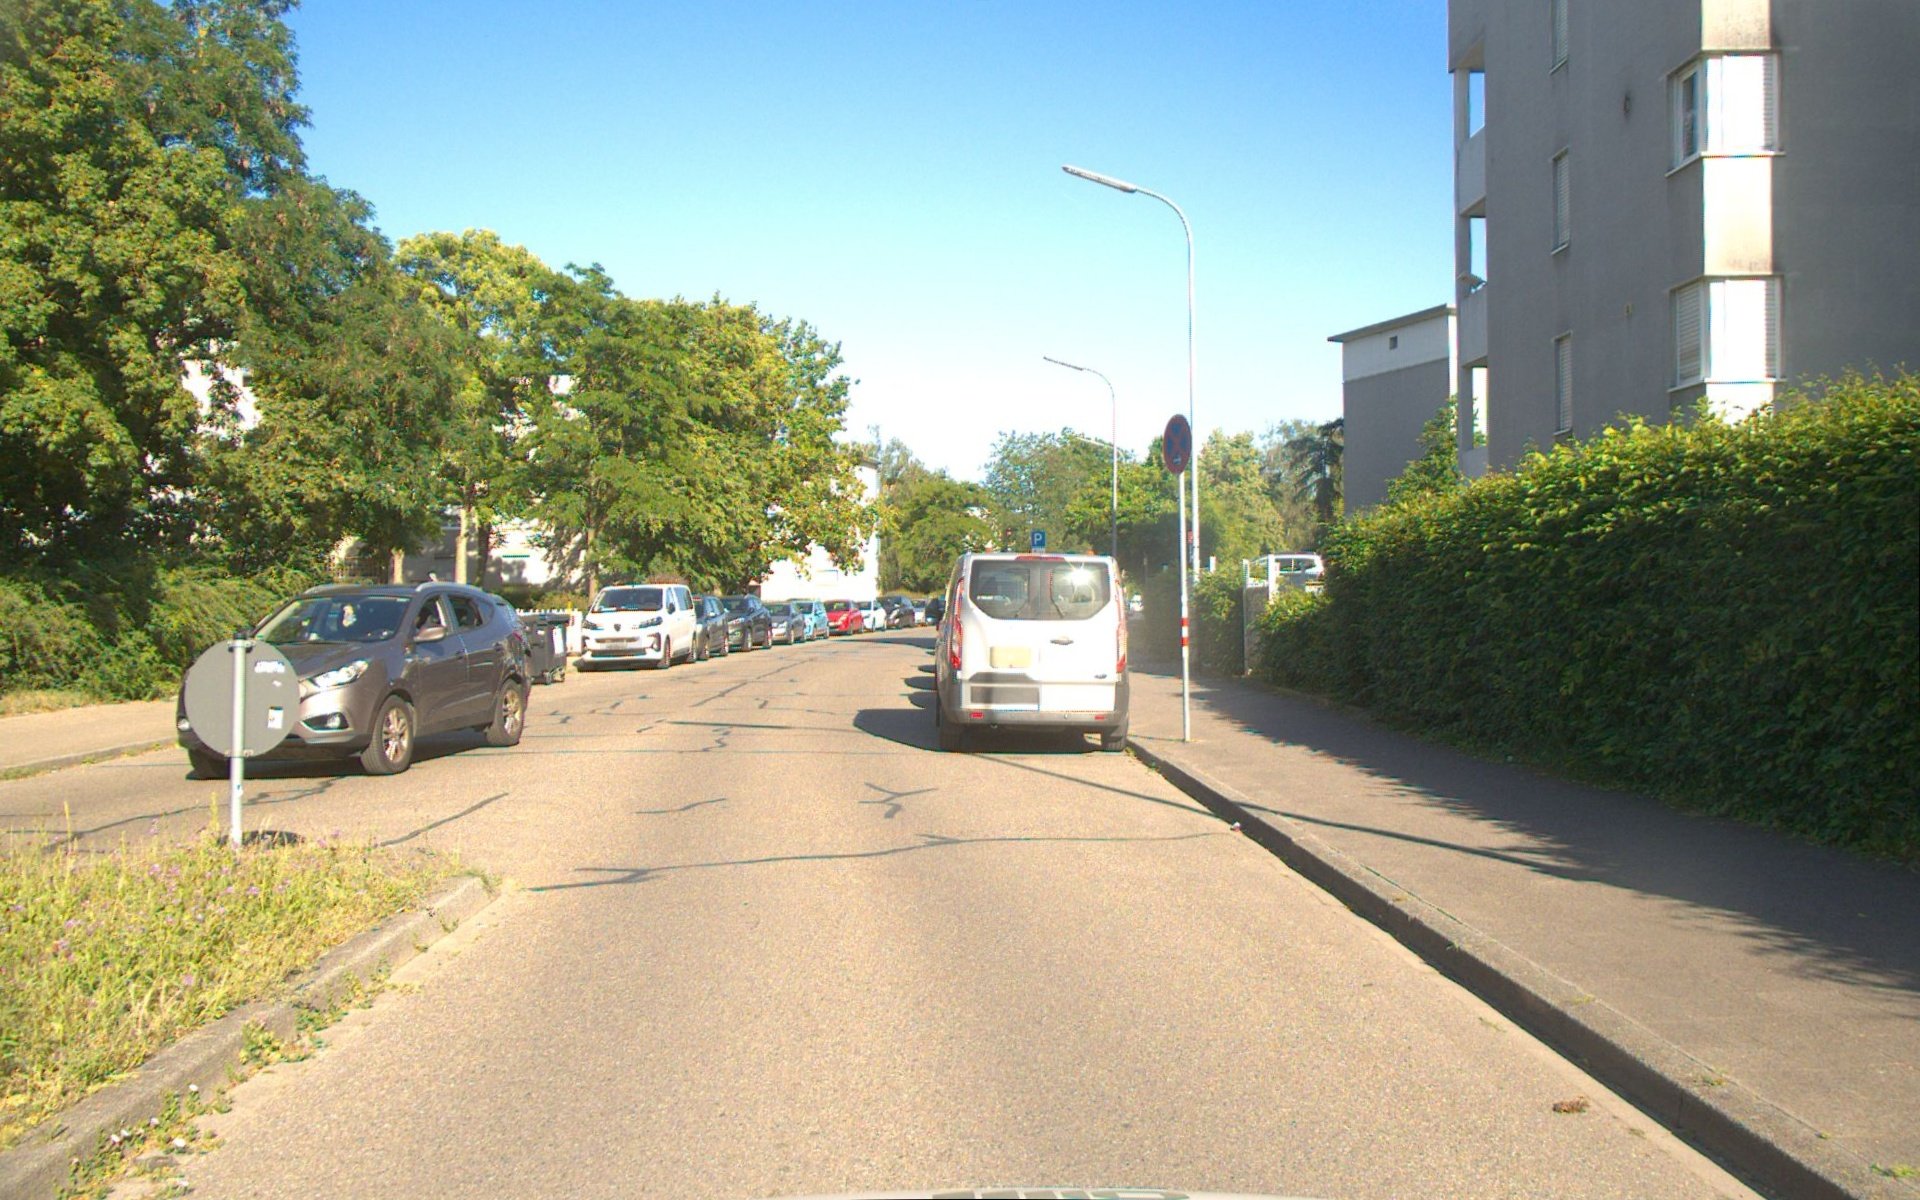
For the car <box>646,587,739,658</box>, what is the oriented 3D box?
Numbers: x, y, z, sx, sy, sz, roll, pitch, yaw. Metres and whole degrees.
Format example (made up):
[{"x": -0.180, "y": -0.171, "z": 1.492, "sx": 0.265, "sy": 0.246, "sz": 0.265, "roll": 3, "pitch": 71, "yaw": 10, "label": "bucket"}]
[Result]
[{"x": -6.988, "y": 0.547, "z": 43.528, "sx": 1.523, "sy": 1.752, "sz": 4.342, "roll": -1, "pitch": 0, "yaw": 3, "label": "car"}]

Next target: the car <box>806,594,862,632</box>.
[{"x": -5.203, "y": 0.531, "z": 68.672, "sx": 1.635, "sy": 1.500, "sz": 3.681, "roll": -2, "pitch": 0, "yaw": 6, "label": "car"}]

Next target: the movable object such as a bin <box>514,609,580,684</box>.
[{"x": -7.780, "y": 0.869, "z": 31.213, "sx": 0.786, "sy": 1.338, "sz": 1.322, "roll": -1, "pitch": 1, "yaw": 6, "label": "movable object such as a bin"}]

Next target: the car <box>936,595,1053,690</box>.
[{"x": 0.565, "y": 0.684, "z": 28.950, "sx": 1.870, "sy": 1.514, "sz": 4.375, "roll": -1, "pitch": 0, "yaw": 0, "label": "car"}]

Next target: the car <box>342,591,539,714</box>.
[{"x": -7.863, "y": 0.726, "z": 25.426, "sx": 1.640, "sy": 1.667, "sz": 4.250, "roll": -2, "pitch": 0, "yaw": 0, "label": "car"}]

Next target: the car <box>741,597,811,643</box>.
[{"x": -6.301, "y": 0.665, "z": 56.930, "sx": 1.635, "sy": 1.462, "sz": 4.002, "roll": -2, "pitch": 0, "yaw": 4, "label": "car"}]

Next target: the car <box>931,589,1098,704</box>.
[{"x": 0.652, "y": 0.589, "z": 23.528, "sx": 1.954, "sy": 1.442, "sz": 4.921, "roll": -1, "pitch": 0, "yaw": -3, "label": "car"}]

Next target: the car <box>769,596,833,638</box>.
[{"x": -5.923, "y": 0.620, "z": 62.032, "sx": 1.635, "sy": 1.500, "sz": 3.681, "roll": -2, "pitch": 0, "yaw": 6, "label": "car"}]

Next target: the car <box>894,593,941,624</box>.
[{"x": -2.225, "y": 0.425, "z": 87.348, "sx": 1.625, "sy": 1.512, "sz": 4.056, "roll": -2, "pitch": 0, "yaw": 10, "label": "car"}]

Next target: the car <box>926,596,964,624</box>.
[{"x": -0.823, "y": 0.556, "z": 92.921, "sx": 1.625, "sy": 1.451, "sz": 4.052, "roll": -2, "pitch": 0, "yaw": 6, "label": "car"}]

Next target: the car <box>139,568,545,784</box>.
[{"x": -5.631, "y": 0.622, "z": 15.713, "sx": 1.872, "sy": 1.735, "sz": 4.188, "roll": -2, "pitch": 0, "yaw": 6, "label": "car"}]

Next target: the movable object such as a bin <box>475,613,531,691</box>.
[{"x": -8.273, "y": 0.928, "z": 29.987, "sx": 0.596, "sy": 1.363, "sz": 1.269, "roll": -1, "pitch": 0, "yaw": 4, "label": "movable object such as a bin"}]

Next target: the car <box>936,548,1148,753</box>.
[{"x": 0.755, "y": 0.488, "z": 18.377, "sx": 1.953, "sy": 1.946, "sz": 4.952, "roll": -1, "pitch": 0, "yaw": -2, "label": "car"}]

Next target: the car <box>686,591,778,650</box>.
[{"x": -6.756, "y": 0.568, "z": 49.382, "sx": 1.711, "sy": 1.646, "sz": 4.366, "roll": -1, "pitch": 0, "yaw": 6, "label": "car"}]

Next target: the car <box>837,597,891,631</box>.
[{"x": -4.302, "y": 0.627, "z": 74.425, "sx": 1.635, "sy": 1.446, "sz": 3.904, "roll": -2, "pitch": 0, "yaw": 9, "label": "car"}]

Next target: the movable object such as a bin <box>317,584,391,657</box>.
[{"x": -13.537, "y": 0.446, "z": 36.974, "sx": 1.233, "sy": 1.578, "sz": 1.278, "roll": -1, "pitch": 0, "yaw": -5, "label": "movable object such as a bin"}]

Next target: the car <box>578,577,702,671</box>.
[{"x": -7.268, "y": 0.511, "z": 37.998, "sx": 1.825, "sy": 1.995, "sz": 4.671, "roll": -1, "pitch": 0, "yaw": 1, "label": "car"}]

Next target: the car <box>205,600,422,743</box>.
[{"x": -7.804, "y": 0.803, "z": 20.253, "sx": 1.595, "sy": 1.554, "sz": 3.415, "roll": -1, "pitch": 0, "yaw": -6, "label": "car"}]

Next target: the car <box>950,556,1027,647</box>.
[{"x": 0.917, "y": 0.038, "z": 49.427, "sx": 2.061, "sy": 2.529, "sz": 5.858, "roll": 1, "pitch": 0, "yaw": 3, "label": "car"}]

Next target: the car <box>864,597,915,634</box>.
[{"x": -3.413, "y": 0.738, "z": 81.226, "sx": 1.635, "sy": 1.696, "sz": 4.410, "roll": -2, "pitch": 0, "yaw": 9, "label": "car"}]
